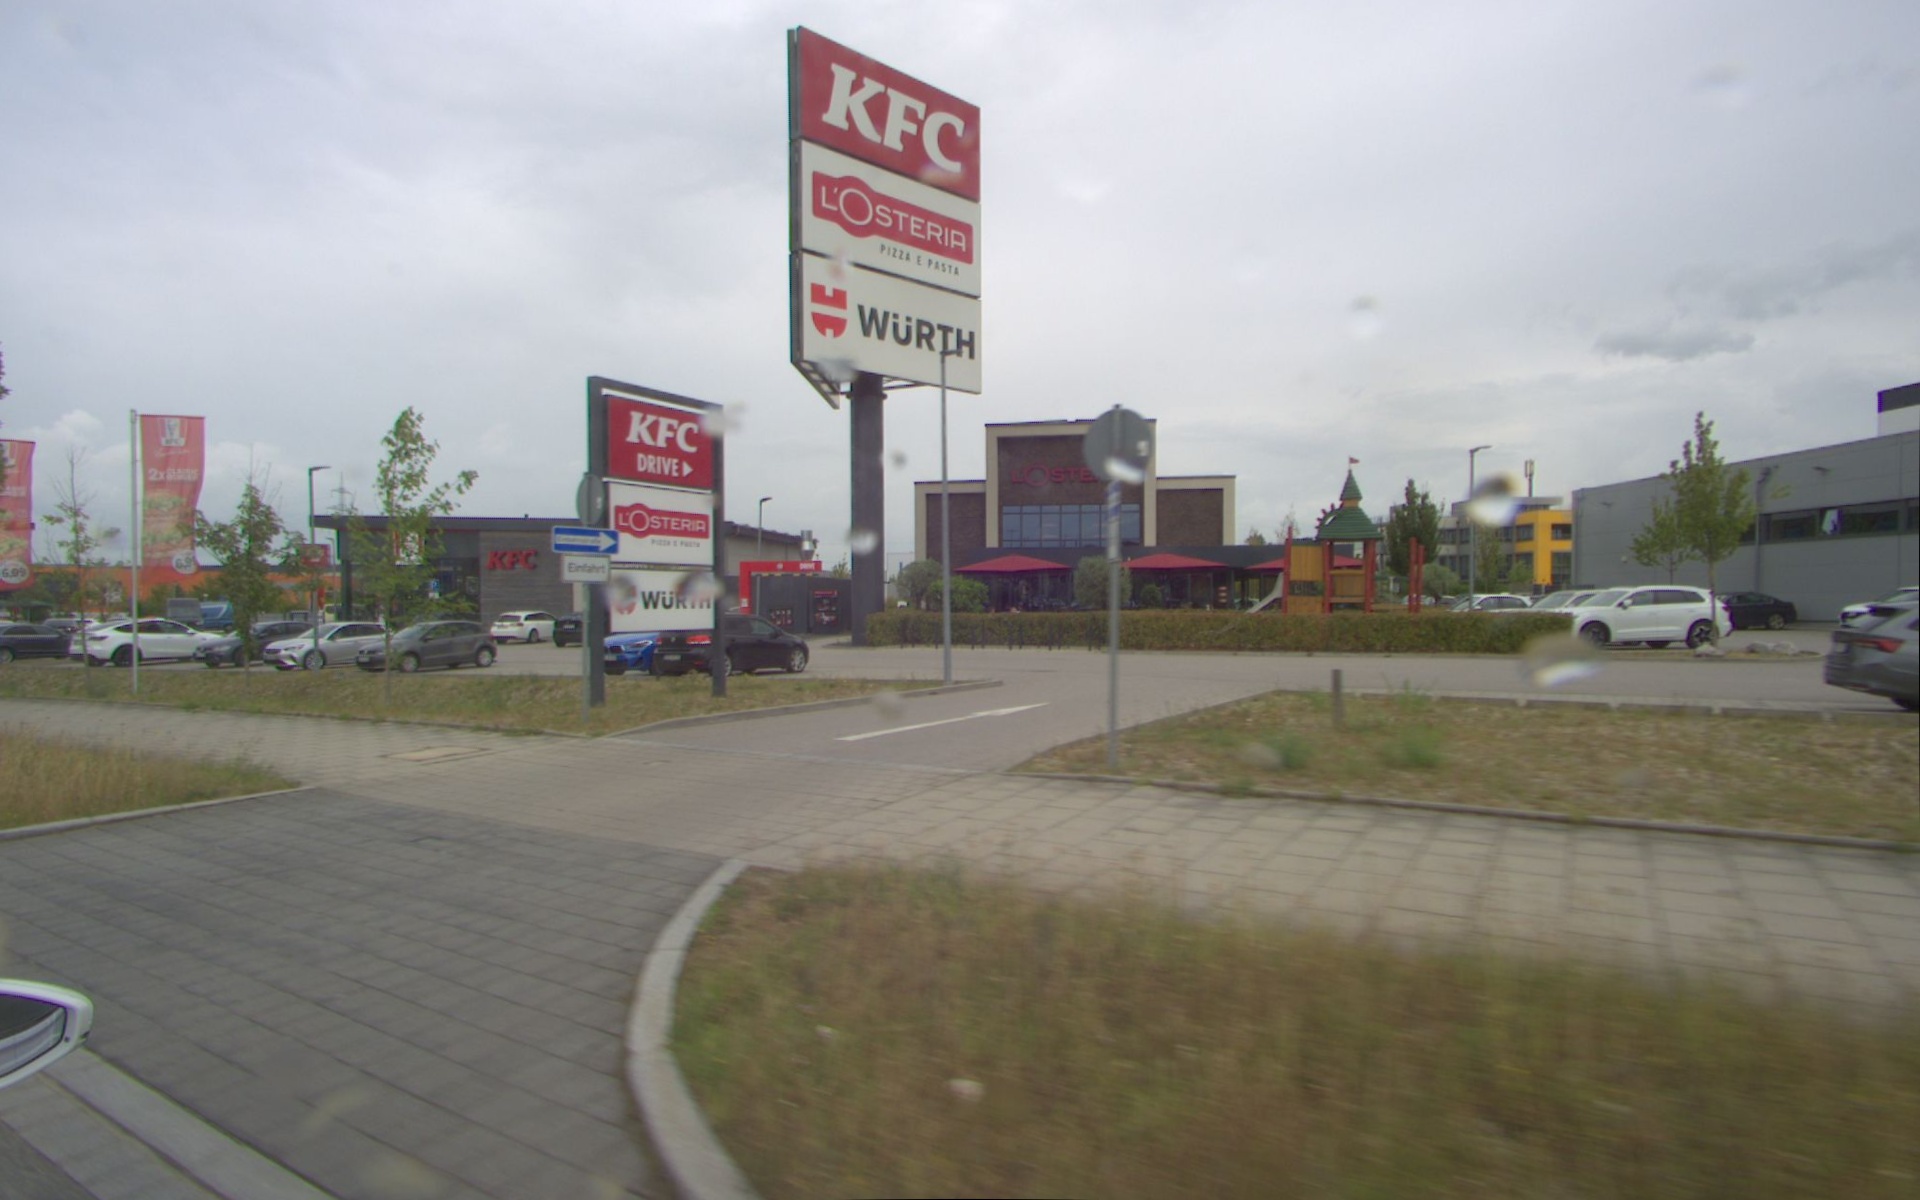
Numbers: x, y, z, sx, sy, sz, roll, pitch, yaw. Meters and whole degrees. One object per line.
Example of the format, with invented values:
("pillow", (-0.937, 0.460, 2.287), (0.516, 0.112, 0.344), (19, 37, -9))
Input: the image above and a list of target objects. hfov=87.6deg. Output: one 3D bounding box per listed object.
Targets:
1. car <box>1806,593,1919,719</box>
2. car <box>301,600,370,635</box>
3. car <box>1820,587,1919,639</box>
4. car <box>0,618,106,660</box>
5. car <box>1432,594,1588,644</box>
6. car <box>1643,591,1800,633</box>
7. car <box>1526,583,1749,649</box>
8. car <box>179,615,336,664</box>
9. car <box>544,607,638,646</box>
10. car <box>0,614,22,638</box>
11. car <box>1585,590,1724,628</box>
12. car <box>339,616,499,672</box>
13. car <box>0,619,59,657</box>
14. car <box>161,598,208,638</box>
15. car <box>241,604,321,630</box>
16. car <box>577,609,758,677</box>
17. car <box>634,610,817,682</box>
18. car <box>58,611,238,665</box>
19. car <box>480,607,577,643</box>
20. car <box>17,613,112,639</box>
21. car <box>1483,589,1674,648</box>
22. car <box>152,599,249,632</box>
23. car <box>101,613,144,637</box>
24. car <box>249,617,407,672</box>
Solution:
("car", (13.212, 0.647, 11.699), (4.758, 1.479, 1.959), (0, 0, 29))
("car", (-43.679, 1.196, 69.993), (5.623, 2.382, 2.516), (0, 0, 40))
("car", (30.110, 0.369, 31.343), (4.487, 1.539, 2.080), (-1, 1, 2))
("car", (-35.565, 1.456, 37.939), (1.995, 1.488, 4.526), (0, 0, 15))
("car", (18.720, 0.641, 34.240), (4.243, 1.650, 1.985), (0, 0, 2))
("car", (29.471, 0.433, 38.858), (4.487, 1.539, 2.080), (-1, 1, -1))
("car", (18.392, 0.430, 27.354), (4.699, 1.720, 2.000), (0, 0, 1))
("car", (-24.135, 1.331, 34.562), (1.908, 1.504, 3.987), (-1, 0, 24))
("car", (-16.355, 1.153, 44.639), (1.939, 1.539, 4.573), (-1, 1, 9))
("car", (-71.972, 1.933, 74.151), (1.964, 1.745, 3.995), (0, -1, -14))
("car", (29.783, 0.356, 43.072), (4.487, 1.539, 2.080), (-1, 1, 2))
("car", (-15.901, 1.250, 29.615), (1.860, 1.513, 3.756), (-1, 0, 27))
("car", (-38.237, 1.501, 39.140), (1.907, 1.457, 4.093), (0, 0, 14))
("car", (-51.530, 1.166, 66.483), (2.255, 2.535, 7.267), (-1, 0, -39))
("car", (-50.962, 1.264, 75.210), (4.603, 1.840, 1.864), (-1, 0, -10))
("car", (-7.275, 1.023, 25.318), (1.936, 1.540, 4.257), (-1, 0, 29))
("car", (-5.389, 1.002, 23.481), (1.953, 1.513, 3.979), (-1, 0, 32))
("car", (-28.943, 1.292, 35.901), (2.052, 1.667, 4.565), (-1, 1, 20))
("car", (-20.558, 1.161, 47.905), (2.041, 1.539, 4.572), (-1, 1, 11))
("car", (-60.569, 1.748, 67.839), (4.682, 1.678, 1.982), (0, 0, -41))
("car", (18.462, 0.546, 30.063), (4.450, 1.700, 2.133), (0, 0, -2))
("car", (-60.789, 1.175, 80.327), (5.964, 2.562, 2.268), (0, 0, -32))
("car", (-53.093, 1.573, 63.514), (1.933, 1.462, 4.185), (-1, 0, -38))
("car", (-20.043, 1.354, 31.923), (1.871, 1.501, 3.860), (-1, 1, 25))
